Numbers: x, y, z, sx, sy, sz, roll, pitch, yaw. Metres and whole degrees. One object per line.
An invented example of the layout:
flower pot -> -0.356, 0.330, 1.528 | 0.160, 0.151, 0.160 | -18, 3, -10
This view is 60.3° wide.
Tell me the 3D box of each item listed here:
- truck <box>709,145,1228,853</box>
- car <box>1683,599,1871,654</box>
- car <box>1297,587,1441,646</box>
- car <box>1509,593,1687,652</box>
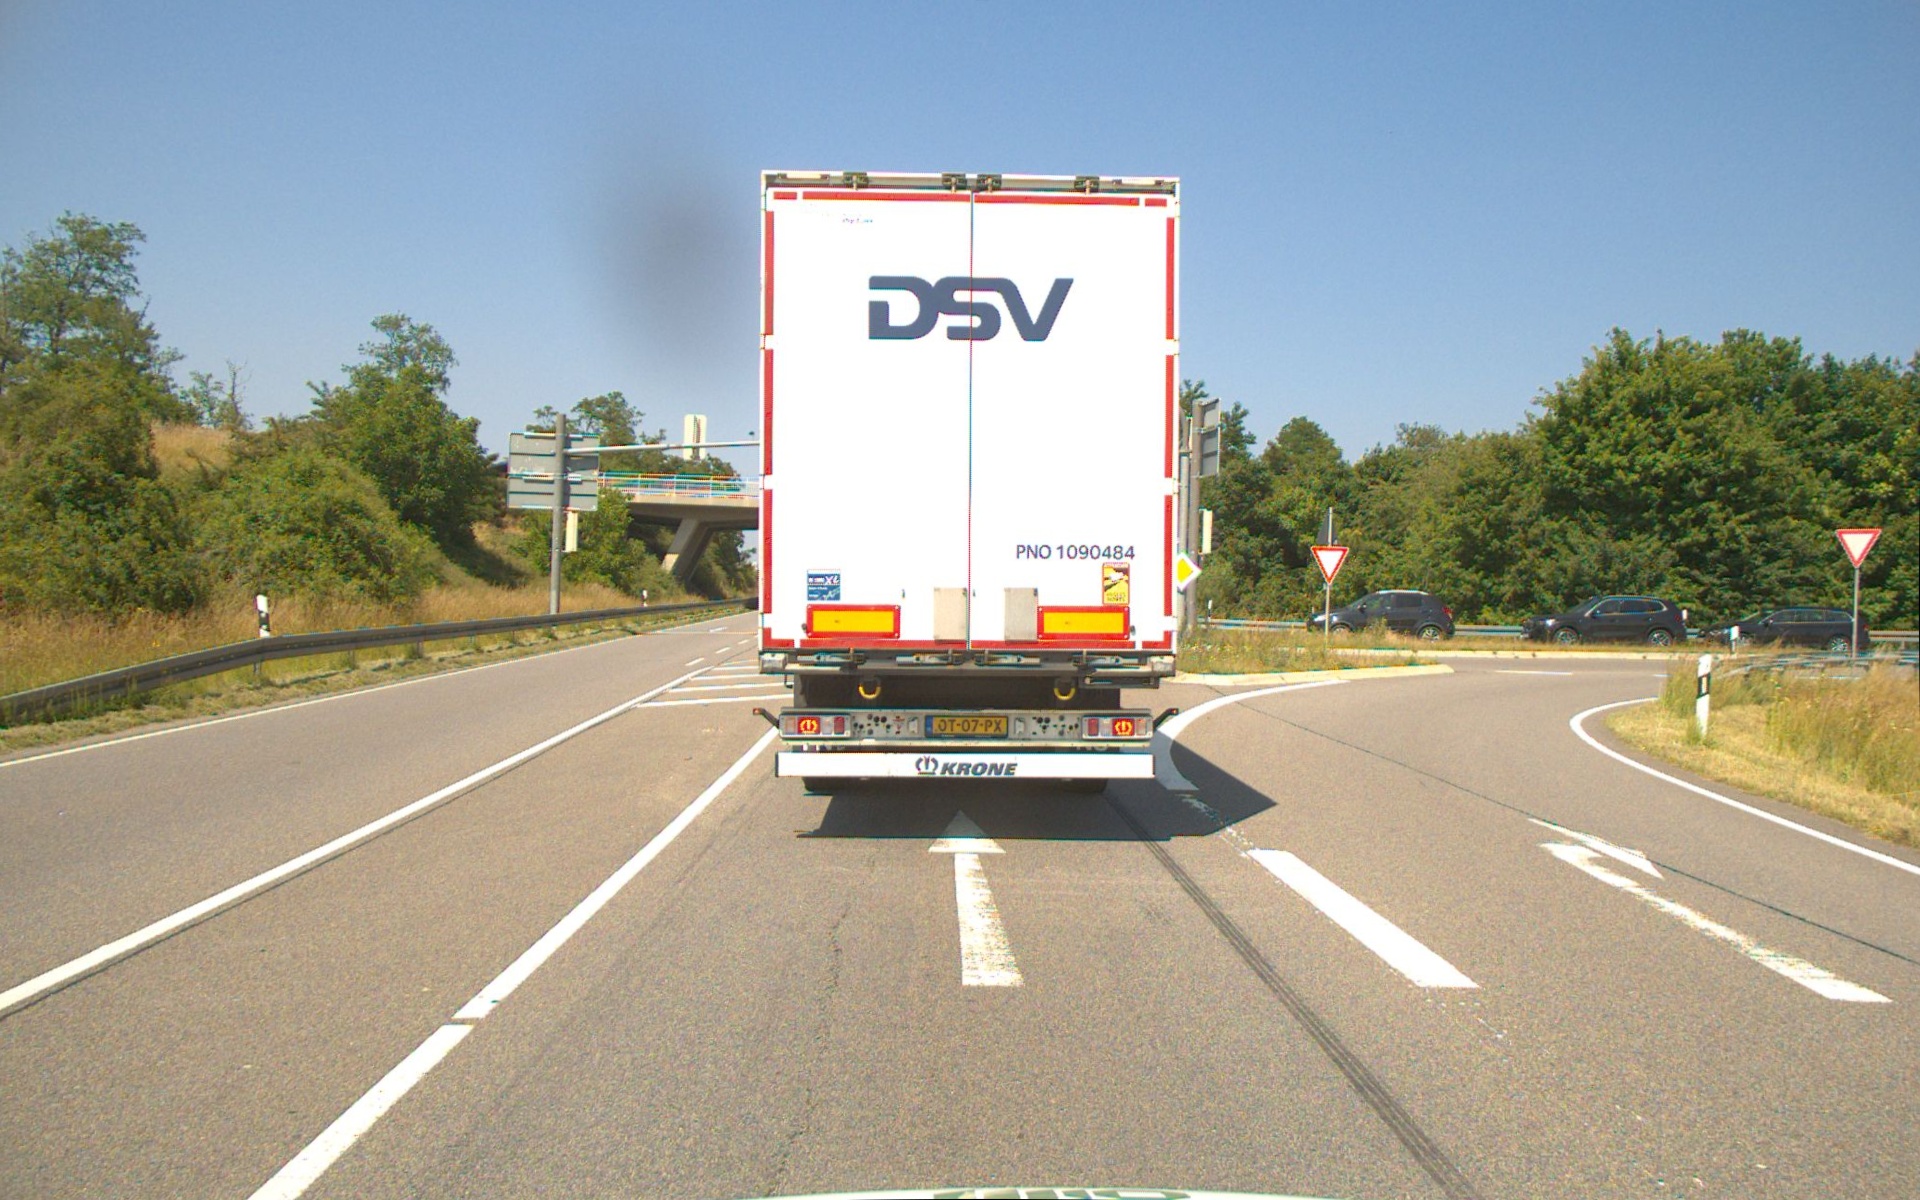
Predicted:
truck -> -0.044, -0.579, 14.386 | 2.927, 4.011, 9.873 | 1, 0, -1
car -> 23.934, 0.758, 48.569 | 4.583, 1.540, 1.854 | 1, 0, 6
car -> 12.089, 0.491, 49.069 | 3.901, 1.668, 1.842 | 1, 0, 5
car -> 18.131, 0.632, 47.106 | 4.393, 1.626, 1.768 | 1, 0, 2
